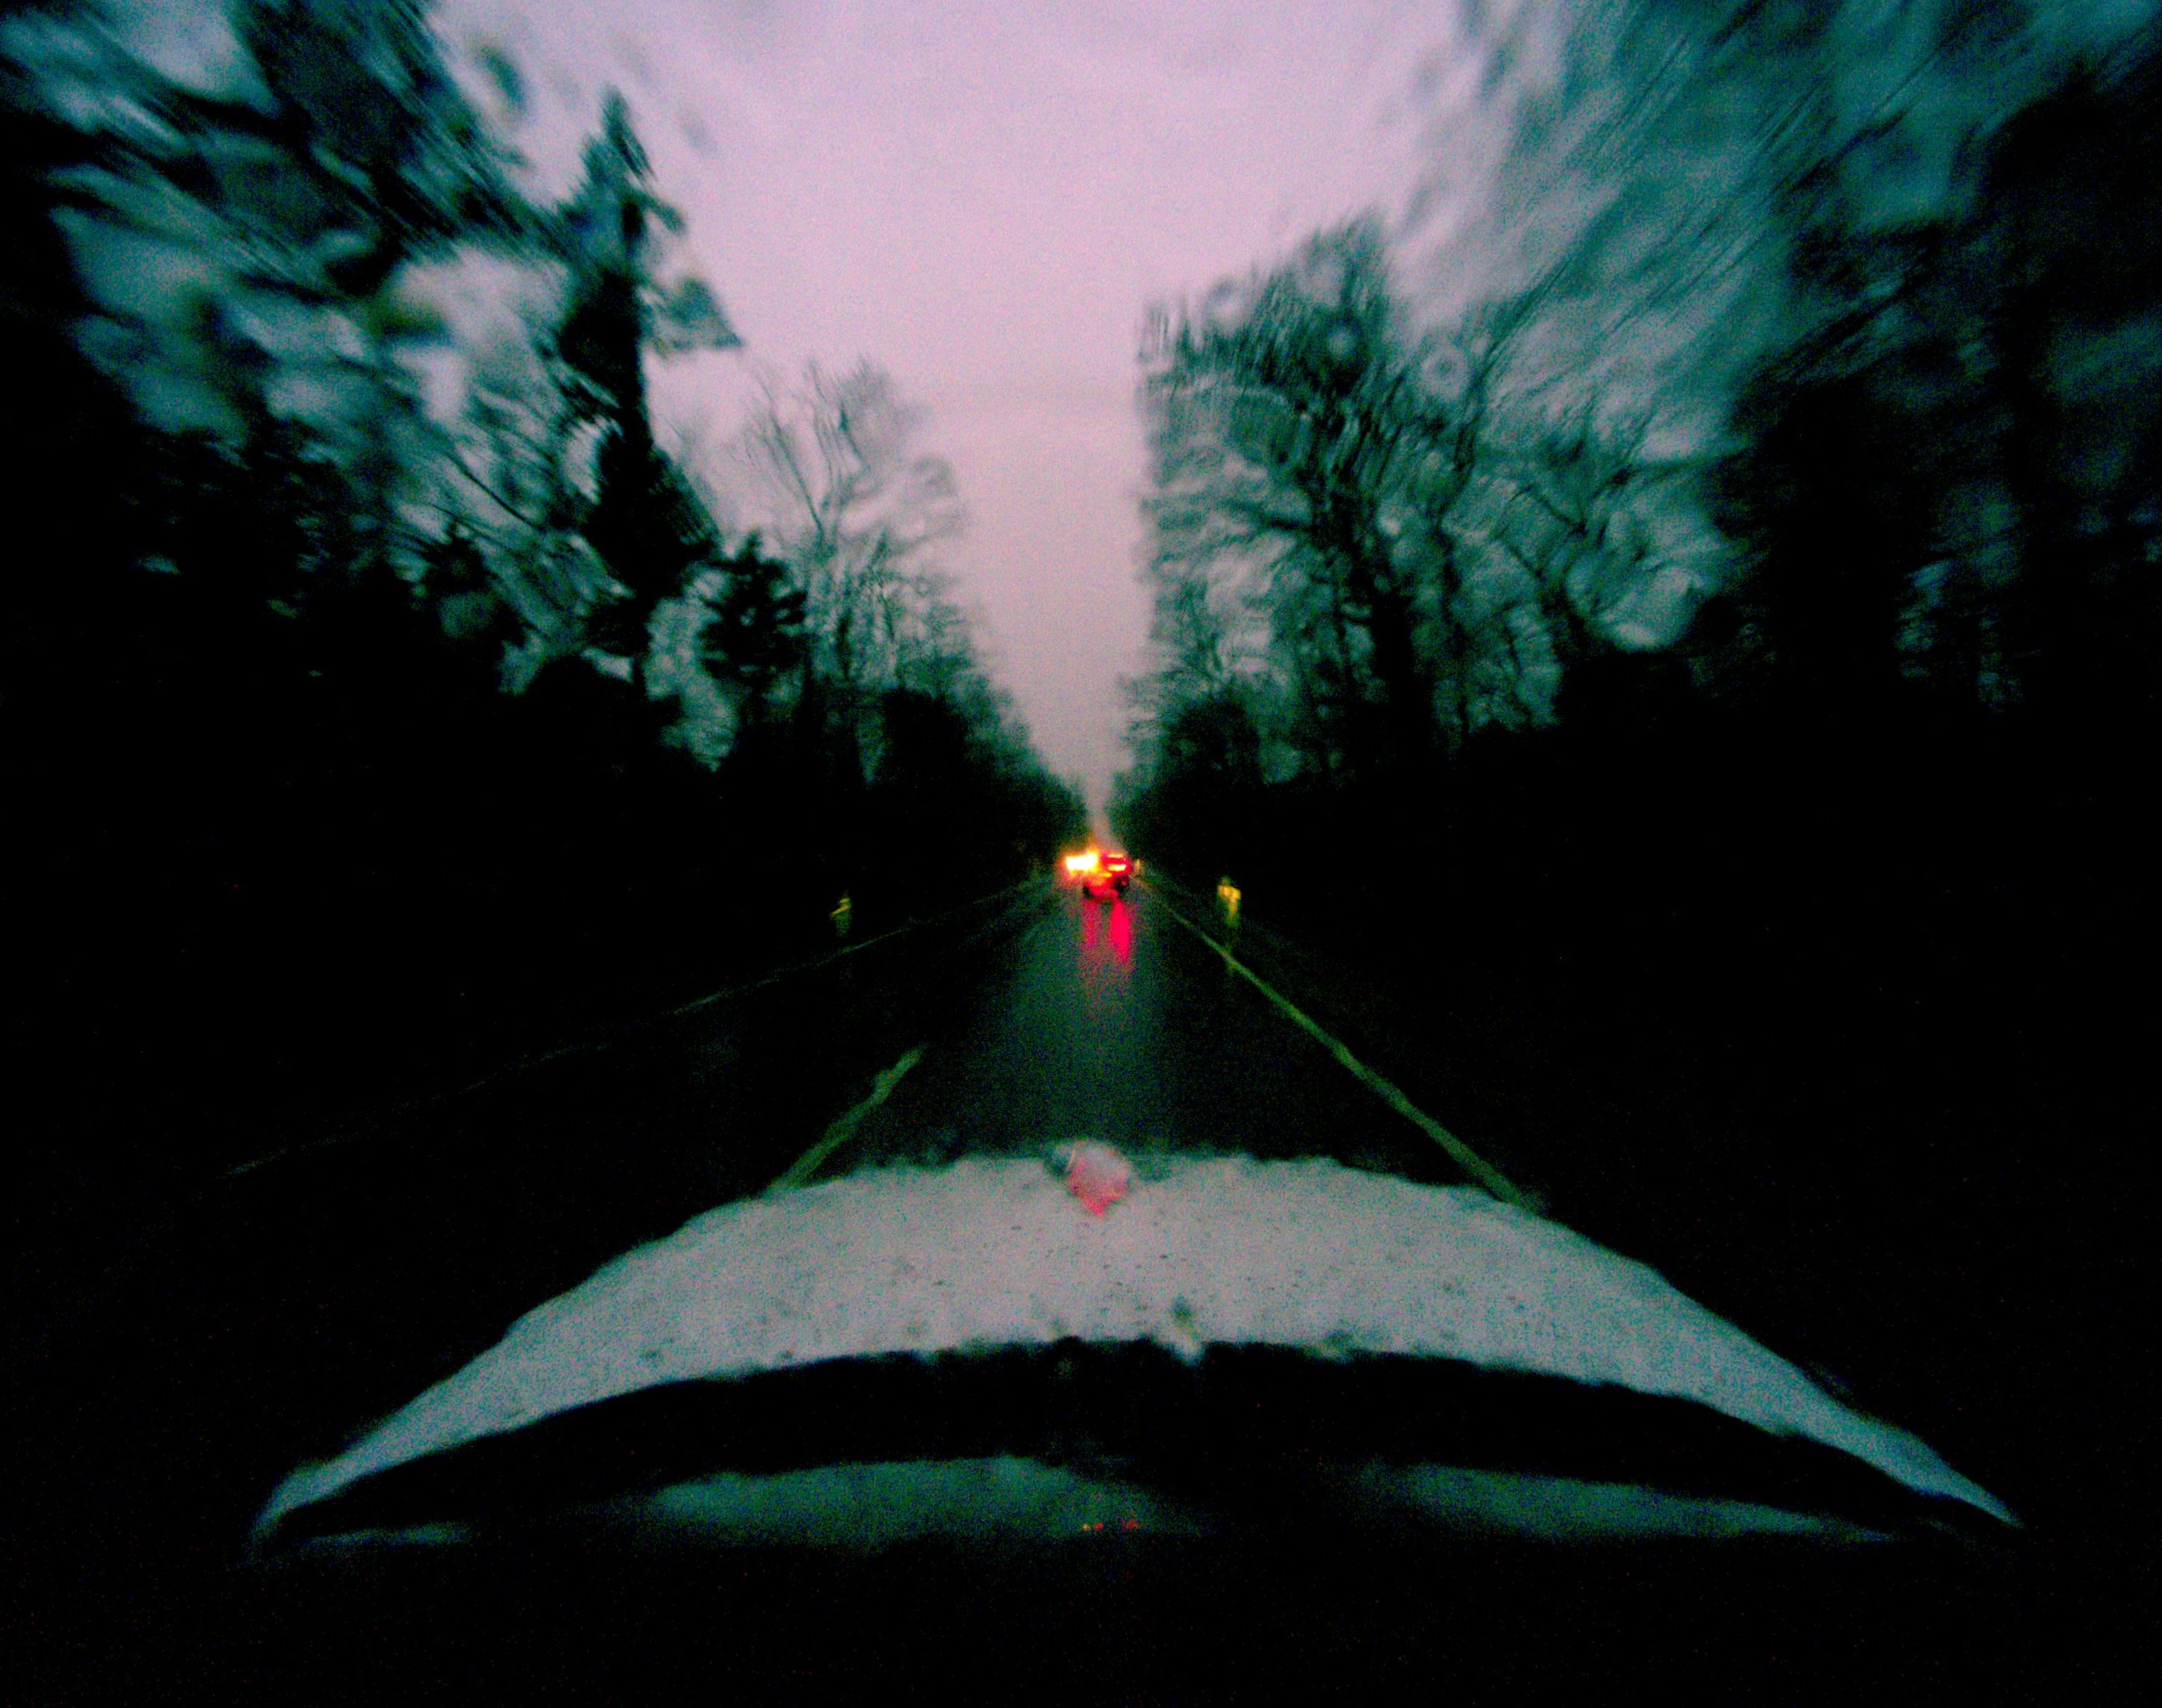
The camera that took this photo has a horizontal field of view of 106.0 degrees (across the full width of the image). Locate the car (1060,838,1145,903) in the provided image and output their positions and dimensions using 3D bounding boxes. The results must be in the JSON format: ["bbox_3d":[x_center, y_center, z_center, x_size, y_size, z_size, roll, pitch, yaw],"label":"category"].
[{"bbox_3d":[0.960,0.636,33.774,3.171,2.386,6.640,-1,0,2],"label":"car"}]
